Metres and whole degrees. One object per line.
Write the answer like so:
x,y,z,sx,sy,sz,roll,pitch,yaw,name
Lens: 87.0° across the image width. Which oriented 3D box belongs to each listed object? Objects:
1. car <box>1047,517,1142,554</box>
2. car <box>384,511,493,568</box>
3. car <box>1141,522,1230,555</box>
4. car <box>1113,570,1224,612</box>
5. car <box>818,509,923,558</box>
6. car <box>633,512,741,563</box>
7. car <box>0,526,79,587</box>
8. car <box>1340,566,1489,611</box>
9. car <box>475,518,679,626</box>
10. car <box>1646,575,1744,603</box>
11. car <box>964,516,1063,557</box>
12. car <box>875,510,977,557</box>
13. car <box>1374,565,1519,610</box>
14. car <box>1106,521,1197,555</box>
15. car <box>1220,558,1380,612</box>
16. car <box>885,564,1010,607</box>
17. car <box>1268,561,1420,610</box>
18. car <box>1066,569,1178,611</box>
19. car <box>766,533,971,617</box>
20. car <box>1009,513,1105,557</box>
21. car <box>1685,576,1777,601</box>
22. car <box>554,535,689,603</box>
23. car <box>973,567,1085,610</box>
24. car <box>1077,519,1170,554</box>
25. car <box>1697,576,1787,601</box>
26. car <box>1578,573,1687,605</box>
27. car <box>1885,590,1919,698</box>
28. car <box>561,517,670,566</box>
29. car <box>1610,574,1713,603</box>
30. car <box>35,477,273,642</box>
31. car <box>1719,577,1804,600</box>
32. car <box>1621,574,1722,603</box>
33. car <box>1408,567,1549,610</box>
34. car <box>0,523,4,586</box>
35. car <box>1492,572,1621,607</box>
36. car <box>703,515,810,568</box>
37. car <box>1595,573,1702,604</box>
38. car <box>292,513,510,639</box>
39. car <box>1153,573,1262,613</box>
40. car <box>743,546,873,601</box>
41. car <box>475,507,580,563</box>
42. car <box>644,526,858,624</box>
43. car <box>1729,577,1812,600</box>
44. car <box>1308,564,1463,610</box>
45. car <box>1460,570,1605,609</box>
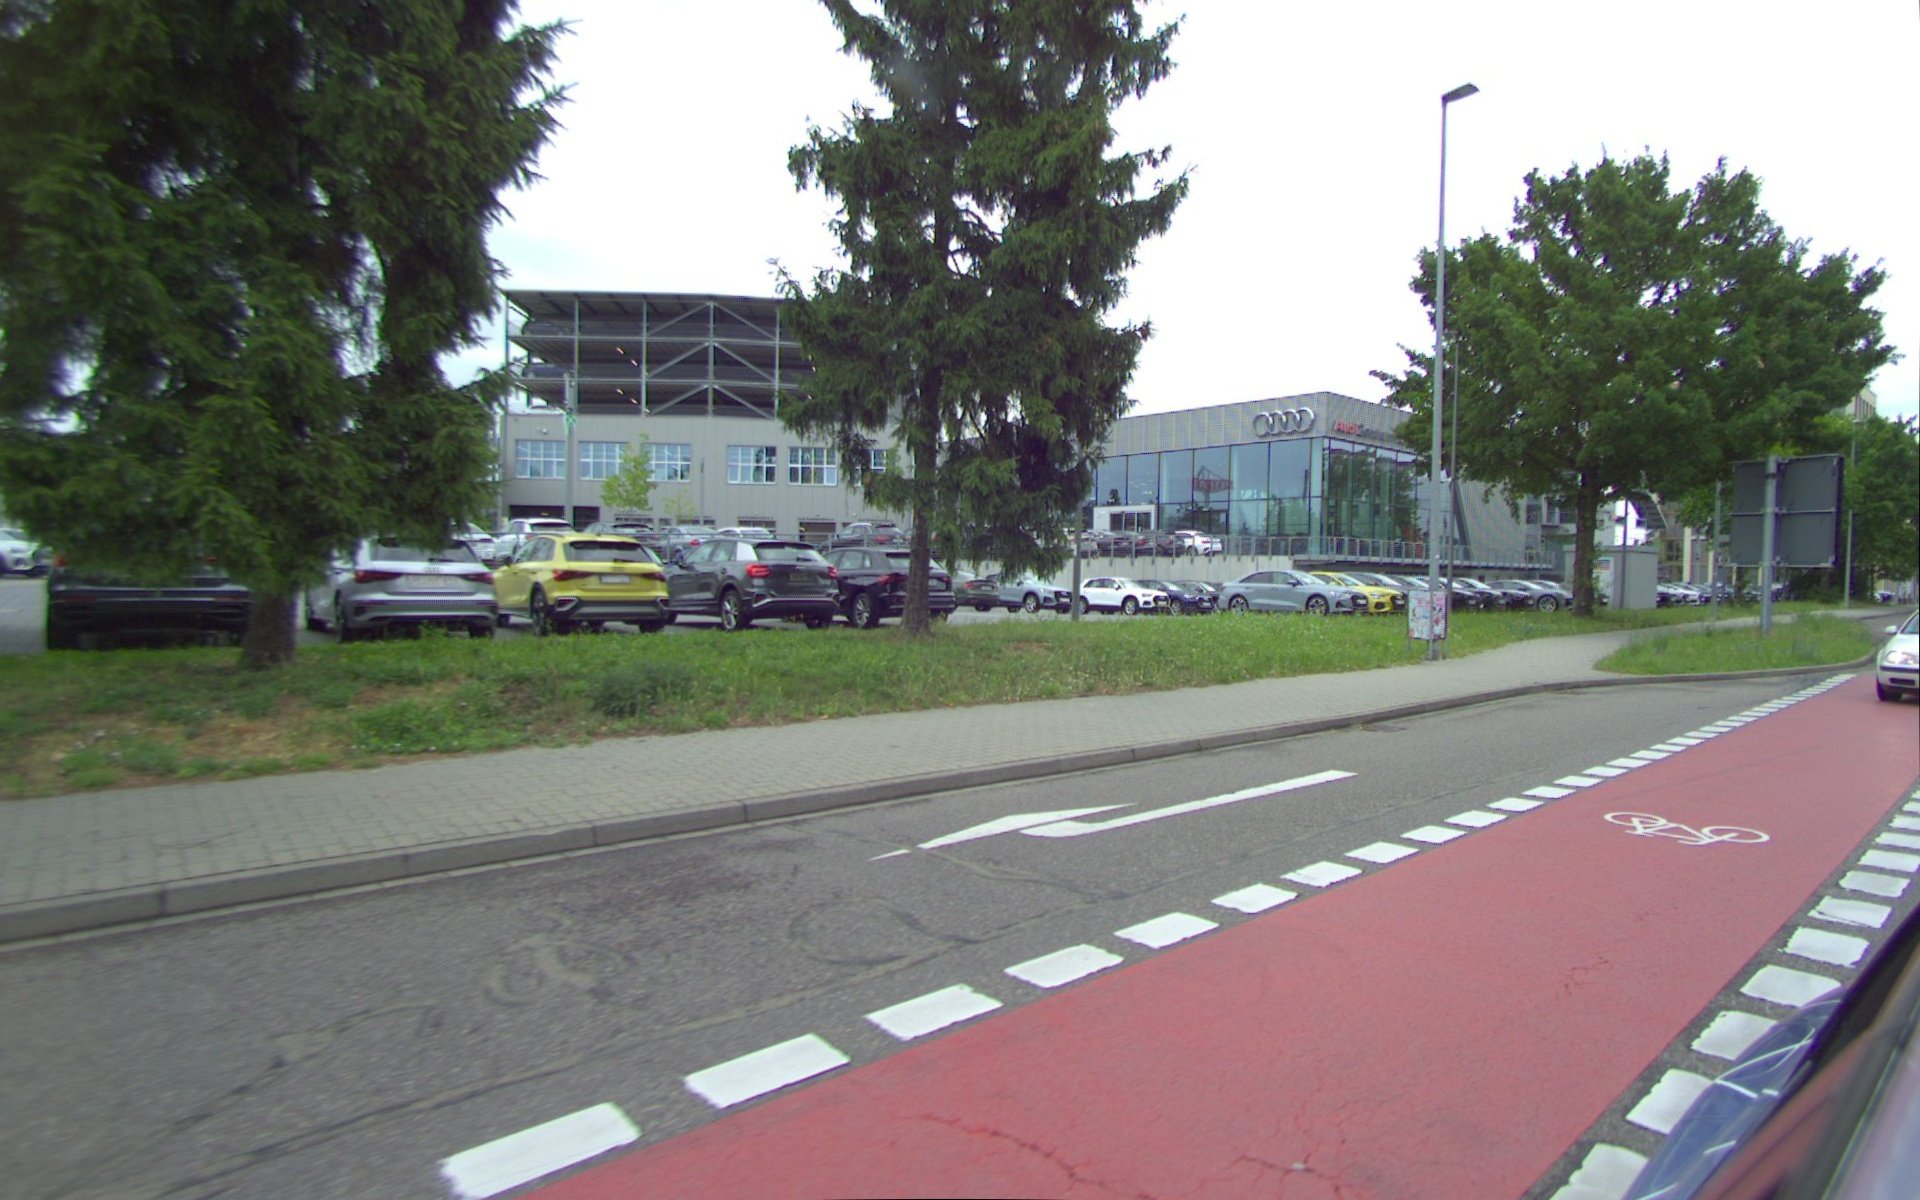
6.237,-2.977,47.282,1.801,1.381,4.303,0,-1,-42,car
-15.036,-1.677,29.081,1.801,1.306,4.303,0,-1,-42,car
11.769,-3.194,52.957,1.801,1.381,4.303,0,-1,-42,car
8.657,-0.349,42.251,1.868,1.621,4.305,0,-1,-40,car
-3.491,-2.516,38.914,1.827,1.546,4.303,0,-1,-42,car
-9.253,-2.055,34.144,1.801,1.389,4.303,0,-1,-42,car
-28.643,-1.226,29.411,4.225,1.682,1.971,-1,-1,-5,car
15.443,-0.362,34.560,1.806,1.396,4.305,0,-1,-40,car
-5.841,-0.341,15.148,1.777,1.396,4.004,0,-1,-38,car
39.909,-0.603,55.005,1.697,1.410,4.038,0,-1,-40,car
2.272,-2.721,43.883,1.833,1.451,4.303,0,-1,-42,car
-1.417,-2.638,40.679,1.801,1.545,4.303,0,-1,-42,car
17.269,-0.406,36.093,1.811,1.463,4.305,0,-1,-40,car
9.658,-3.113,51.227,1.801,1.381,4.303,0,-1,-42,car
9.951,-0.408,29.862,1.708,1.450,4.195,0,-1,-40,car
-0.474,-0.523,34.538,1.869,1.345,4.304,1,1,-42,car
11.828,-0.404,31.367,1.763,1.395,4.054,0,-1,-39,car
6.454,-0.418,40.681,1.868,1.621,4.306,-1,1,-40,car
-1.788,-0.383,18.658,1.868,1.371,4.000,0,-1,-39,car
4.302,-2.876,45.551,1.861,1.612,4.307,0,-1,-38,car
45.571,-0.664,59.899,1.697,1.410,4.038,0,-1,-40,car
-9.035,-0.818,26.807,1.869,1.621,4.306,1,1,-41,car
2.469,-0.389,36.840,1.868,1.478,3.914,0,-1,-40,car
7.945,-3.042,49.437,1.801,1.381,4.303,0,-1,-42,car
47.511,-0.690,61.533,1.697,1.410,4.038,0,-1,-40,car
32.232,-0.506,48.558,1.697,1.410,4.038,0,-1,-40,car
14.762,0.588,14.390,3.868,1.442,1.727,0,1,-37,car
-11.145,-1.826,32.583,1.801,1.263,4.303,0,-1,-42,car
35.859,-0.569,51.800,1.697,1.410,4.038,0,-1,-40,car
-9.656,-0.376,12.219,1.934,1.621,4.306,0,-1,-39,car
51.527,-0.725,65.127,1.697,1.410,4.038,0,-1,-40,car
37.505,-0.575,53.419,1.697,1.410,4.038,0,-1,-40,car
19.271,-0.405,37.773,1.811,1.463,4.305,0,-1,-40,car
-28.366,-1.222,26.731,4.225,1.712,1.971,-1,-1,-5,car
24.970,-0.419,42.504,1.831,1.333,4.305,0,-1,-40,car
-7.253,-2.001,35.745,1.801,1.554,4.303,0,-1,-42,car
34.038,-0.534,50.102,1.697,1.410,4.038,0,-1,-40,car
-7.628,-0.245,13.598,1.868,1.400,4.306,0,-1,-39,car
10.686,-0.283,43.957,1.868,1.621,4.305,0,-1,-40,car
-4.618,-0.790,30.269,1.869,1.525,4.305,0,1,-41,car
-13.249,-1.926,30.875,1.671,1.400,4.303,0,-1,-42,car
-3.568,-0.344,16.854,1.919,1.441,3.757,0,-1,-41,car
53.598,-0.750,66.992,1.697,1.410,4.038,0,-1,-40,car
13.650,-0.383,32.667,1.708,1.375,4.305,0,-1,-40,car
23.135,-0.381,41.022,1.868,1.442,4.760,0,-1,-40,car
